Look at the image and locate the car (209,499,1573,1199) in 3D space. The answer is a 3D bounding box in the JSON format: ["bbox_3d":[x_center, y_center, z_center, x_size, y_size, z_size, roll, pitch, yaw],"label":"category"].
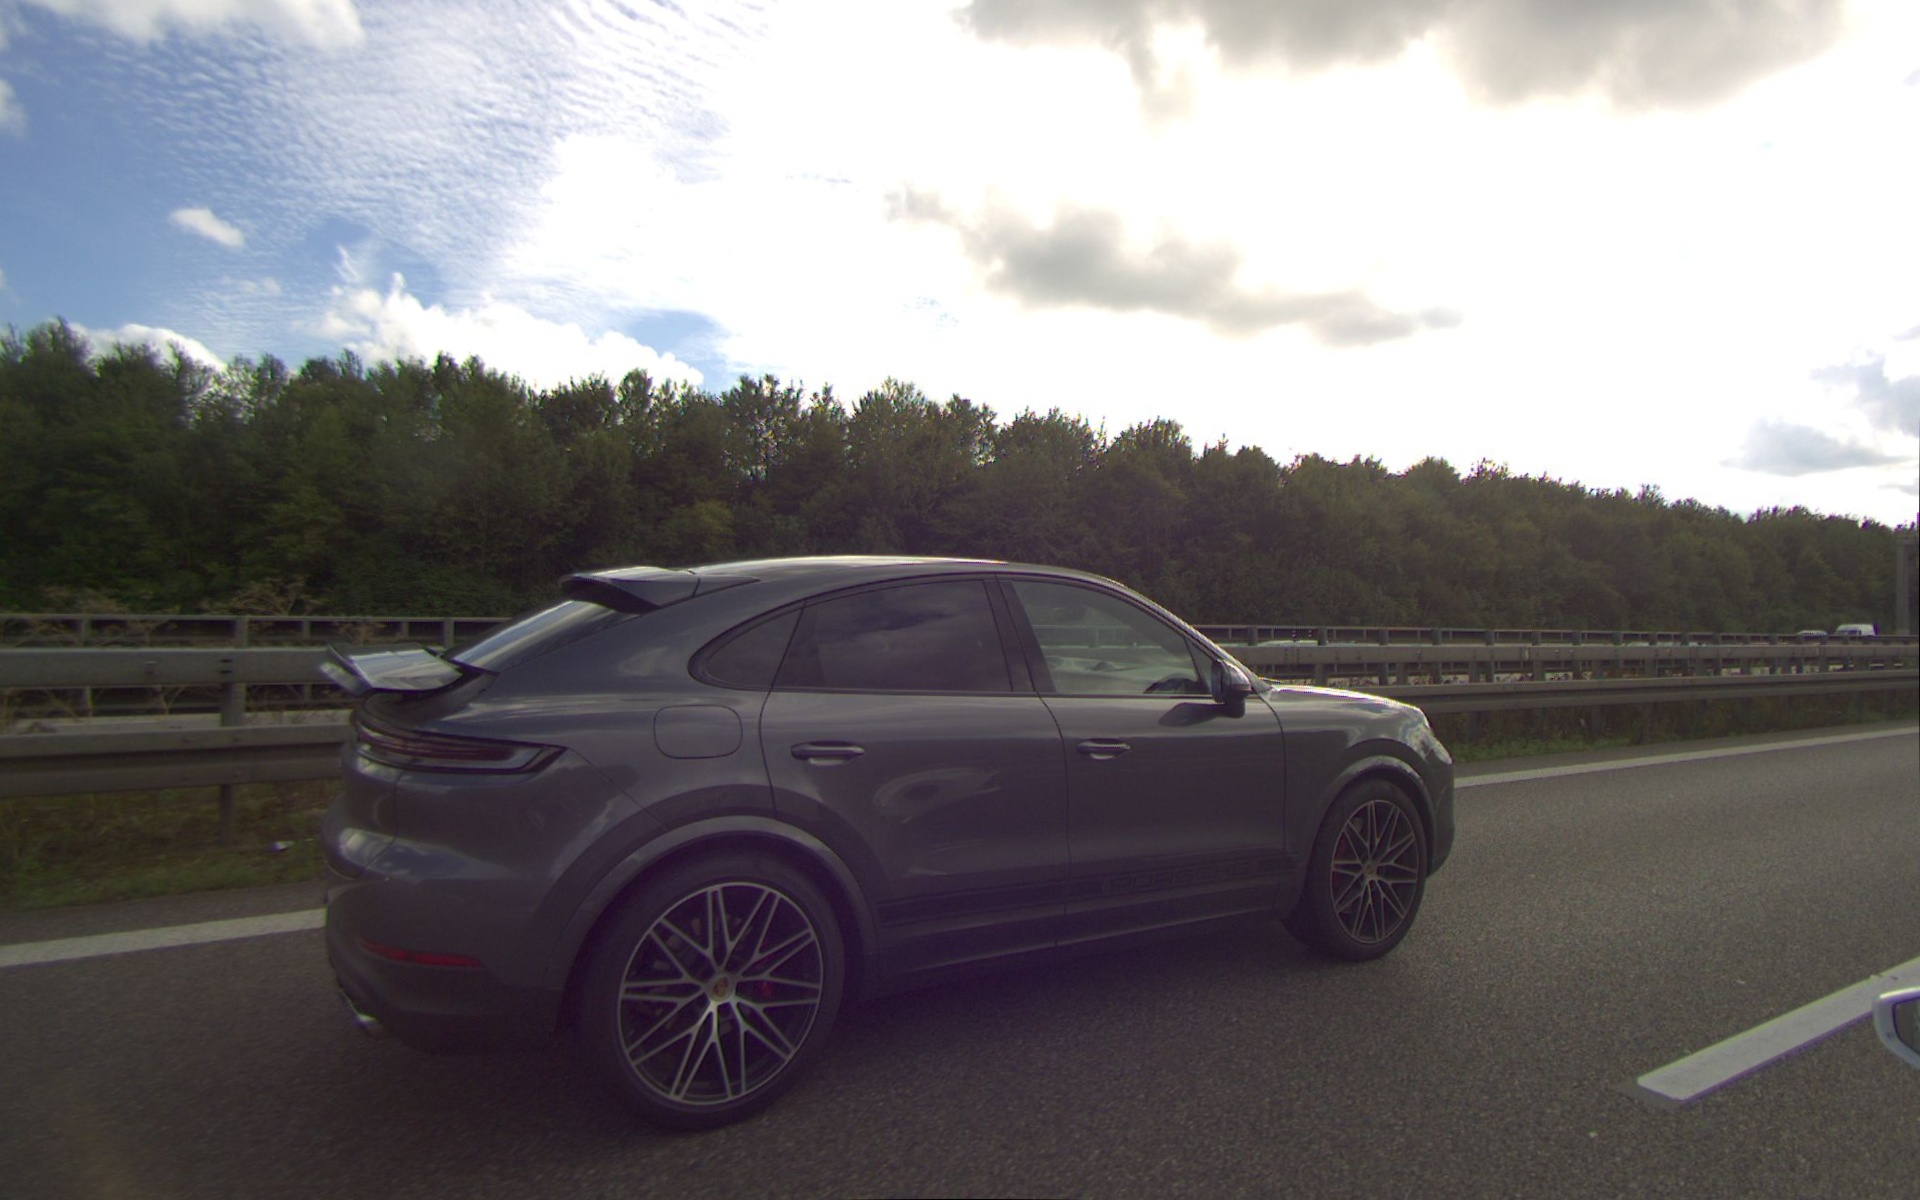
[{"bbox_3d":[0.236,0.665,4.405,5.437,1.658,1.903,1,-1,-31],"label":"car"}]

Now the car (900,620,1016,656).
[{"bbox_3d":[-0.051,1.423,38.029,4.199,1.332,1.634,1,-2,-31],"label":"car"}]

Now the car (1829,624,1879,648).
[{"bbox_3d":[88.978,3.582,99.911,5.615,2.346,1.985,1,-1,-29],"label":"car"}]

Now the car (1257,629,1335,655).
[{"bbox_3d":[17.876,2.195,53.383,4.199,1.332,1.634,1,-2,-31],"label":"car"}]
